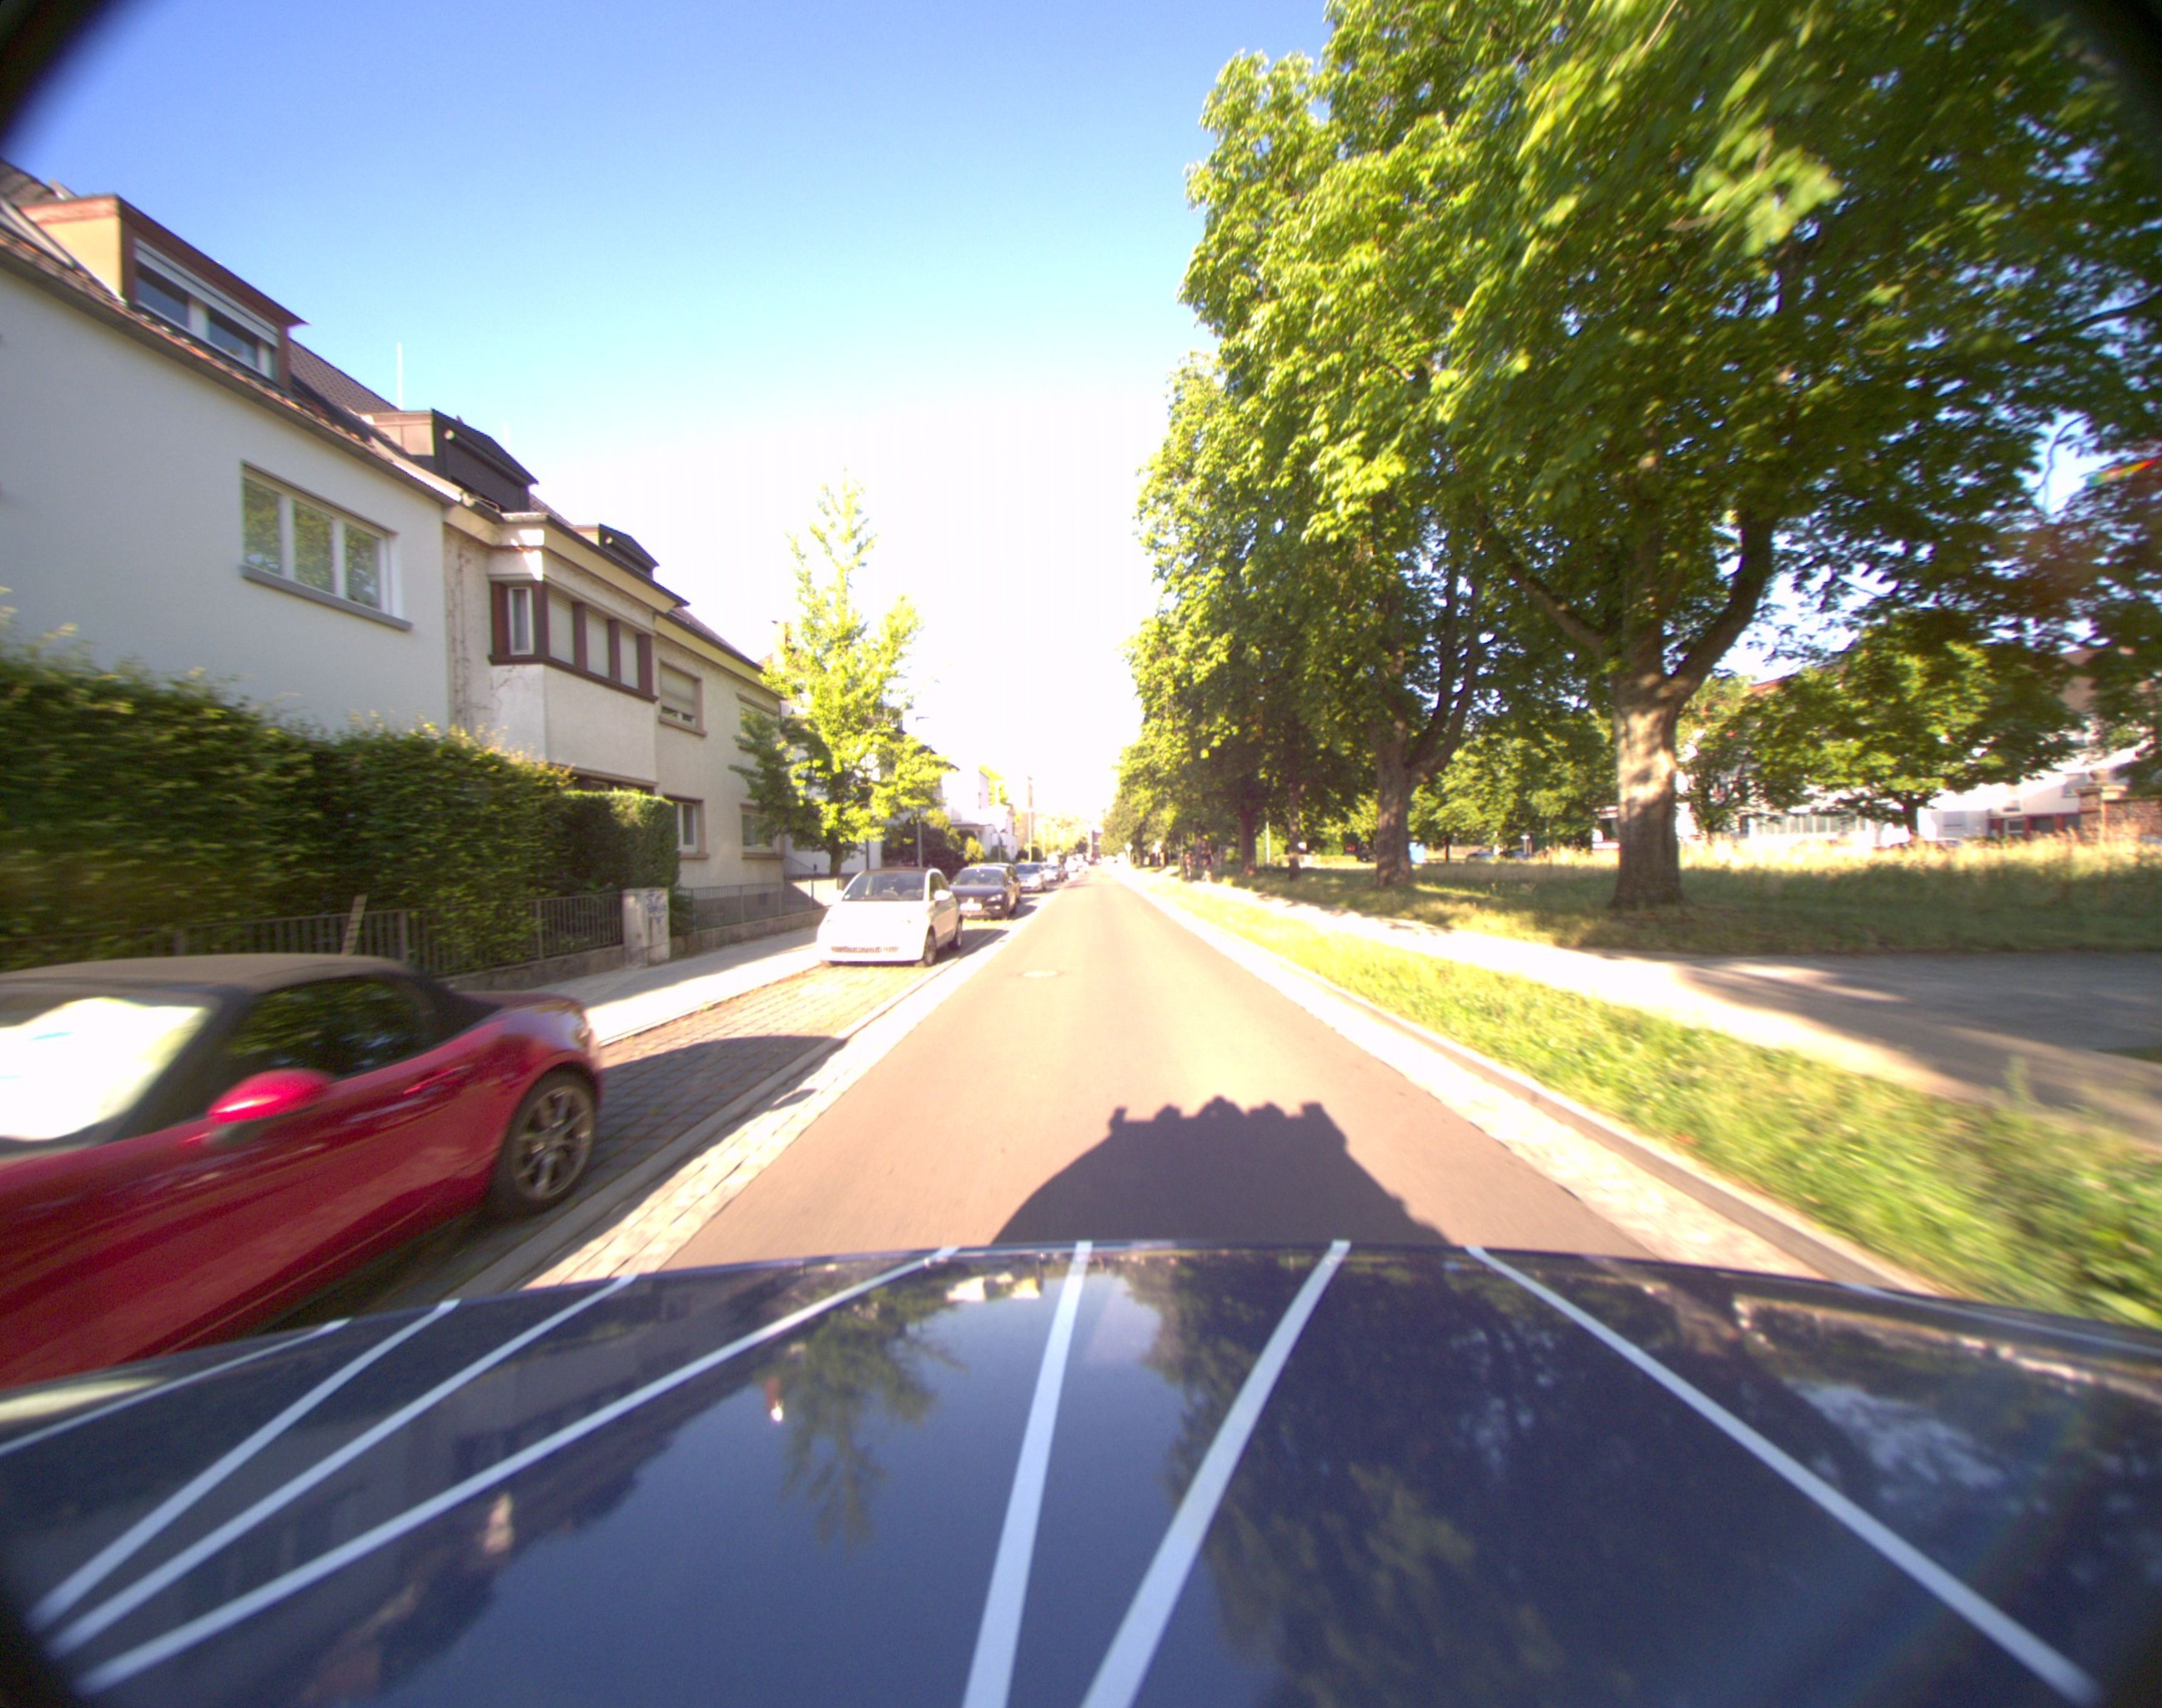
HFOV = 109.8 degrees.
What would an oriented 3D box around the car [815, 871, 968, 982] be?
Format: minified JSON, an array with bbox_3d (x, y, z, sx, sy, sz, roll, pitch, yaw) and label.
[{"bbox_3d":[-2.914,1.056,12.376,1.508,1.471,3.493,-1,0,2],"label":"car"}]

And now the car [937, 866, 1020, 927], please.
[{"bbox_3d":[-2.792,1.127,21.556,1.745,1.471,4.057,-2,0,0],"label":"car"}]

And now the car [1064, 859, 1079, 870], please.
[{"bbox_3d":[-1.289,1.407,105.297,1.844,1.471,3.764,-2,0,0],"label":"car"}]

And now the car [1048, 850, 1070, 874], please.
[{"bbox_3d":[-2.115,0.800,74.937,1.844,2.196,3.764,-2,0,2],"label":"car"}]

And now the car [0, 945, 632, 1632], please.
[{"bbox_3d":[-3.293,1.141,2.119,1.702,1.250,3.879,-1,1,1],"label":"car"}]

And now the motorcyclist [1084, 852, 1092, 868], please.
[{"bbox_3d":[0.866,0.784,98.494,0.961,2.002,1.274,-3,1,0],"label":"motorcyclist"}]

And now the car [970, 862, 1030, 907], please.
[{"bbox_3d":[-2.995,1.101,28.701,1.665,1.471,3.764,-2,0,2],"label":"car"}]

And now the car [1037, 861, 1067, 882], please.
[{"bbox_3d":[-2.186,1.293,57.749,1.844,1.471,3.765,-2,0,4],"label":"car"}]

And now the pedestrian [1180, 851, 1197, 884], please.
[{"bbox_3d":[5.463,0.671,38.563,0.625,1.621,0.606,-2,1,27],"label":"pedestrian"}]

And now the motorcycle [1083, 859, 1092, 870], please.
[{"bbox_3d":[0.871,1.338,98.590,1.077,1.373,2.463,-3,0,0],"label":"motorcycle"}]

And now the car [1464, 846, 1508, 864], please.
[{"bbox_3d":[38.579,0.113,72.463,1.873,1.619,4.426,-3,0,1],"label":"car"}]

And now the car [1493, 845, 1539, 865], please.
[{"bbox_3d":[38.458,0.104,67.276,1.766,1.619,4.000,-3,0,1],"label":"car"}]

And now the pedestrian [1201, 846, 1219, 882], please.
[{"bbox_3d":[6.680,0.535,39.384,0.625,1.840,0.606,-2,1,40],"label":"pedestrian"}]

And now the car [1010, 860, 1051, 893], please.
[{"bbox_3d":[-2.487,1.111,38.237,1.665,1.526,3.833,-1,0,2],"label":"car"}]
